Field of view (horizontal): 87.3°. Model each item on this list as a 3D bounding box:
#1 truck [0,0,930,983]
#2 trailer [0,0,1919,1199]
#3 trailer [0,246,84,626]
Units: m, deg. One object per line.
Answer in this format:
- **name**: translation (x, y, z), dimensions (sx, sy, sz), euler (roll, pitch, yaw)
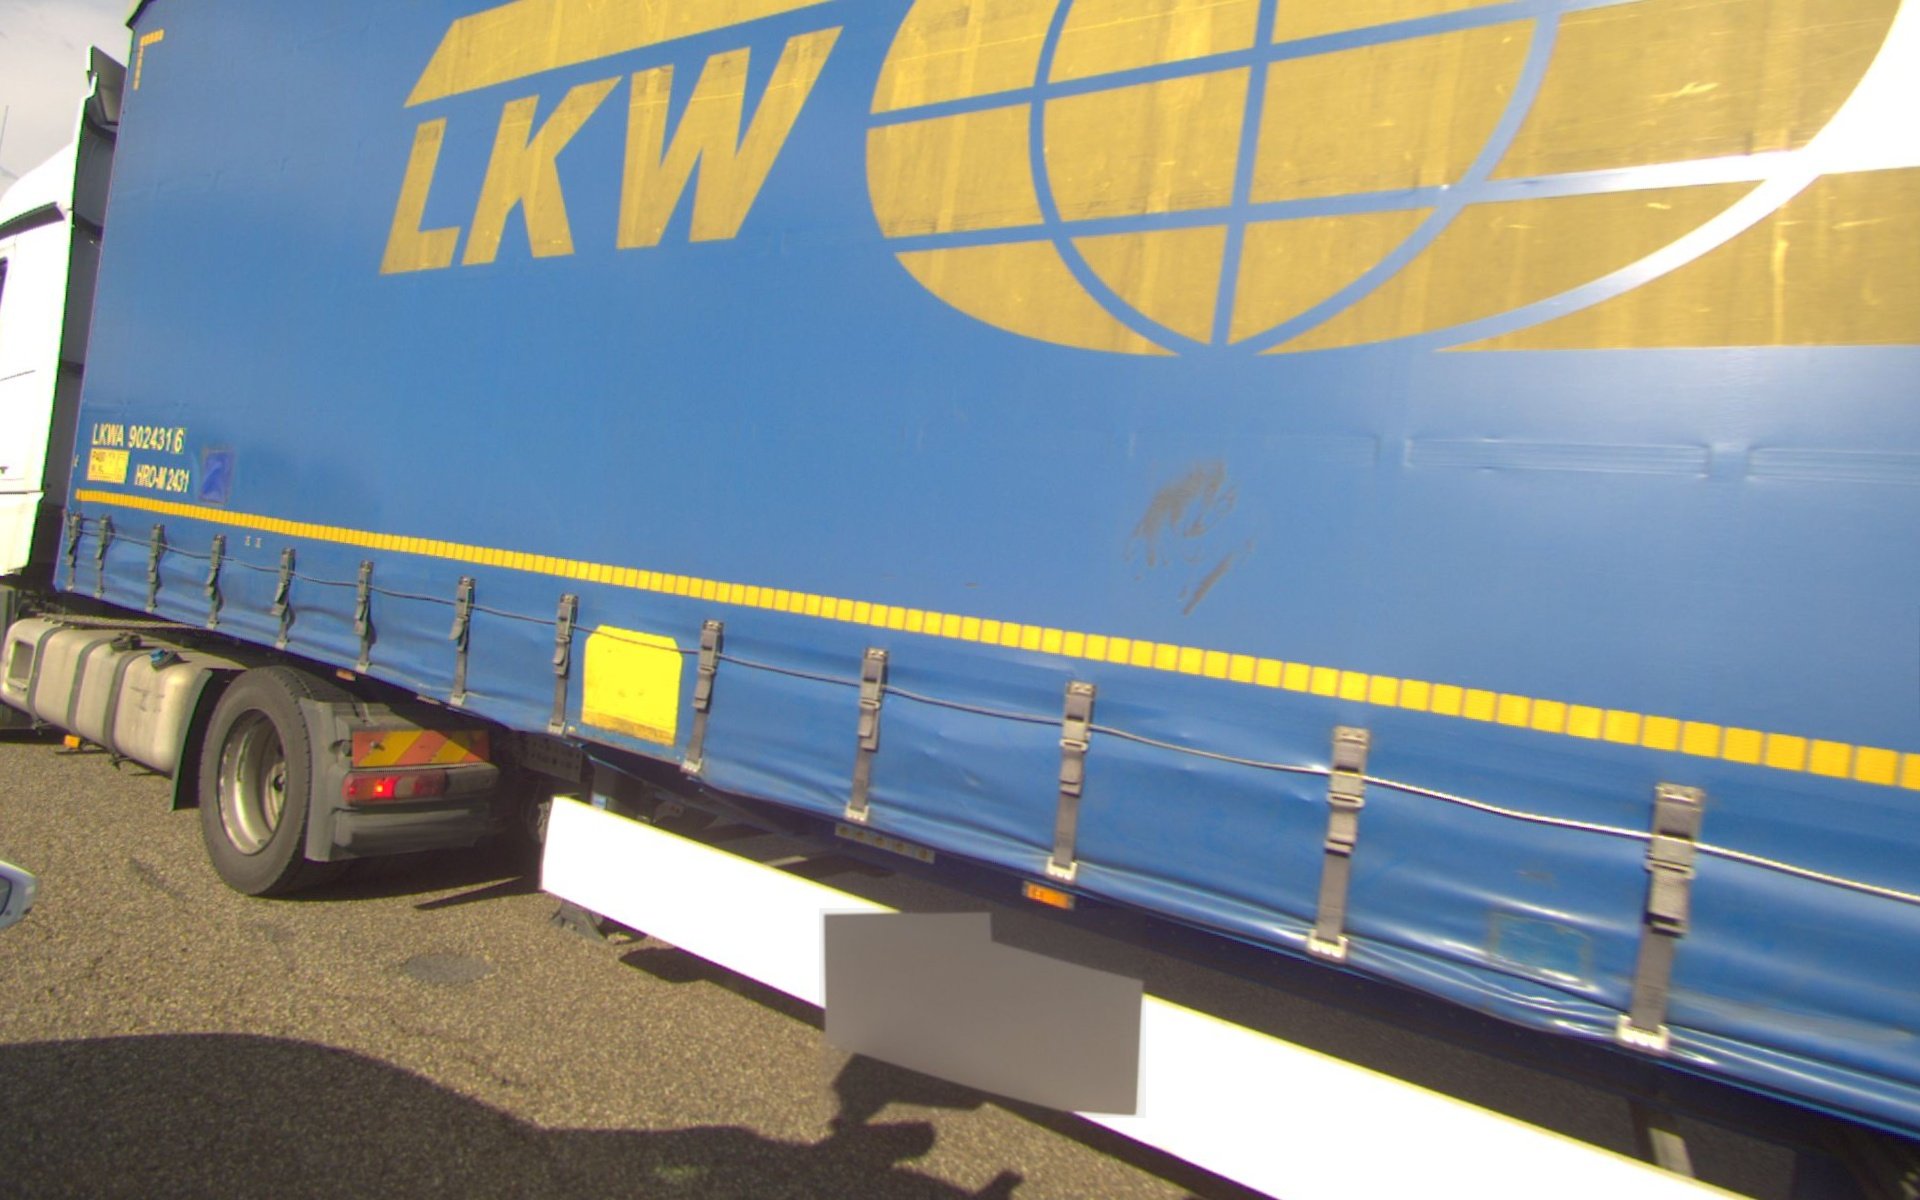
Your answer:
- **truck**: translation (-3.802, -0.948, 6.164), dimensions (6.383, 4.136, 2.654), euler (6, -2, 31)
- **trailer**: translation (1.561, -0.353, 2.879), dimensions (13.747, 4.145, 2.647), euler (6, -2, 31)
- **trailer**: translation (-14.705, -2.316, 12.865), dimensions (8.778, 4.115, 2.417), euler (7, -1, 32)
